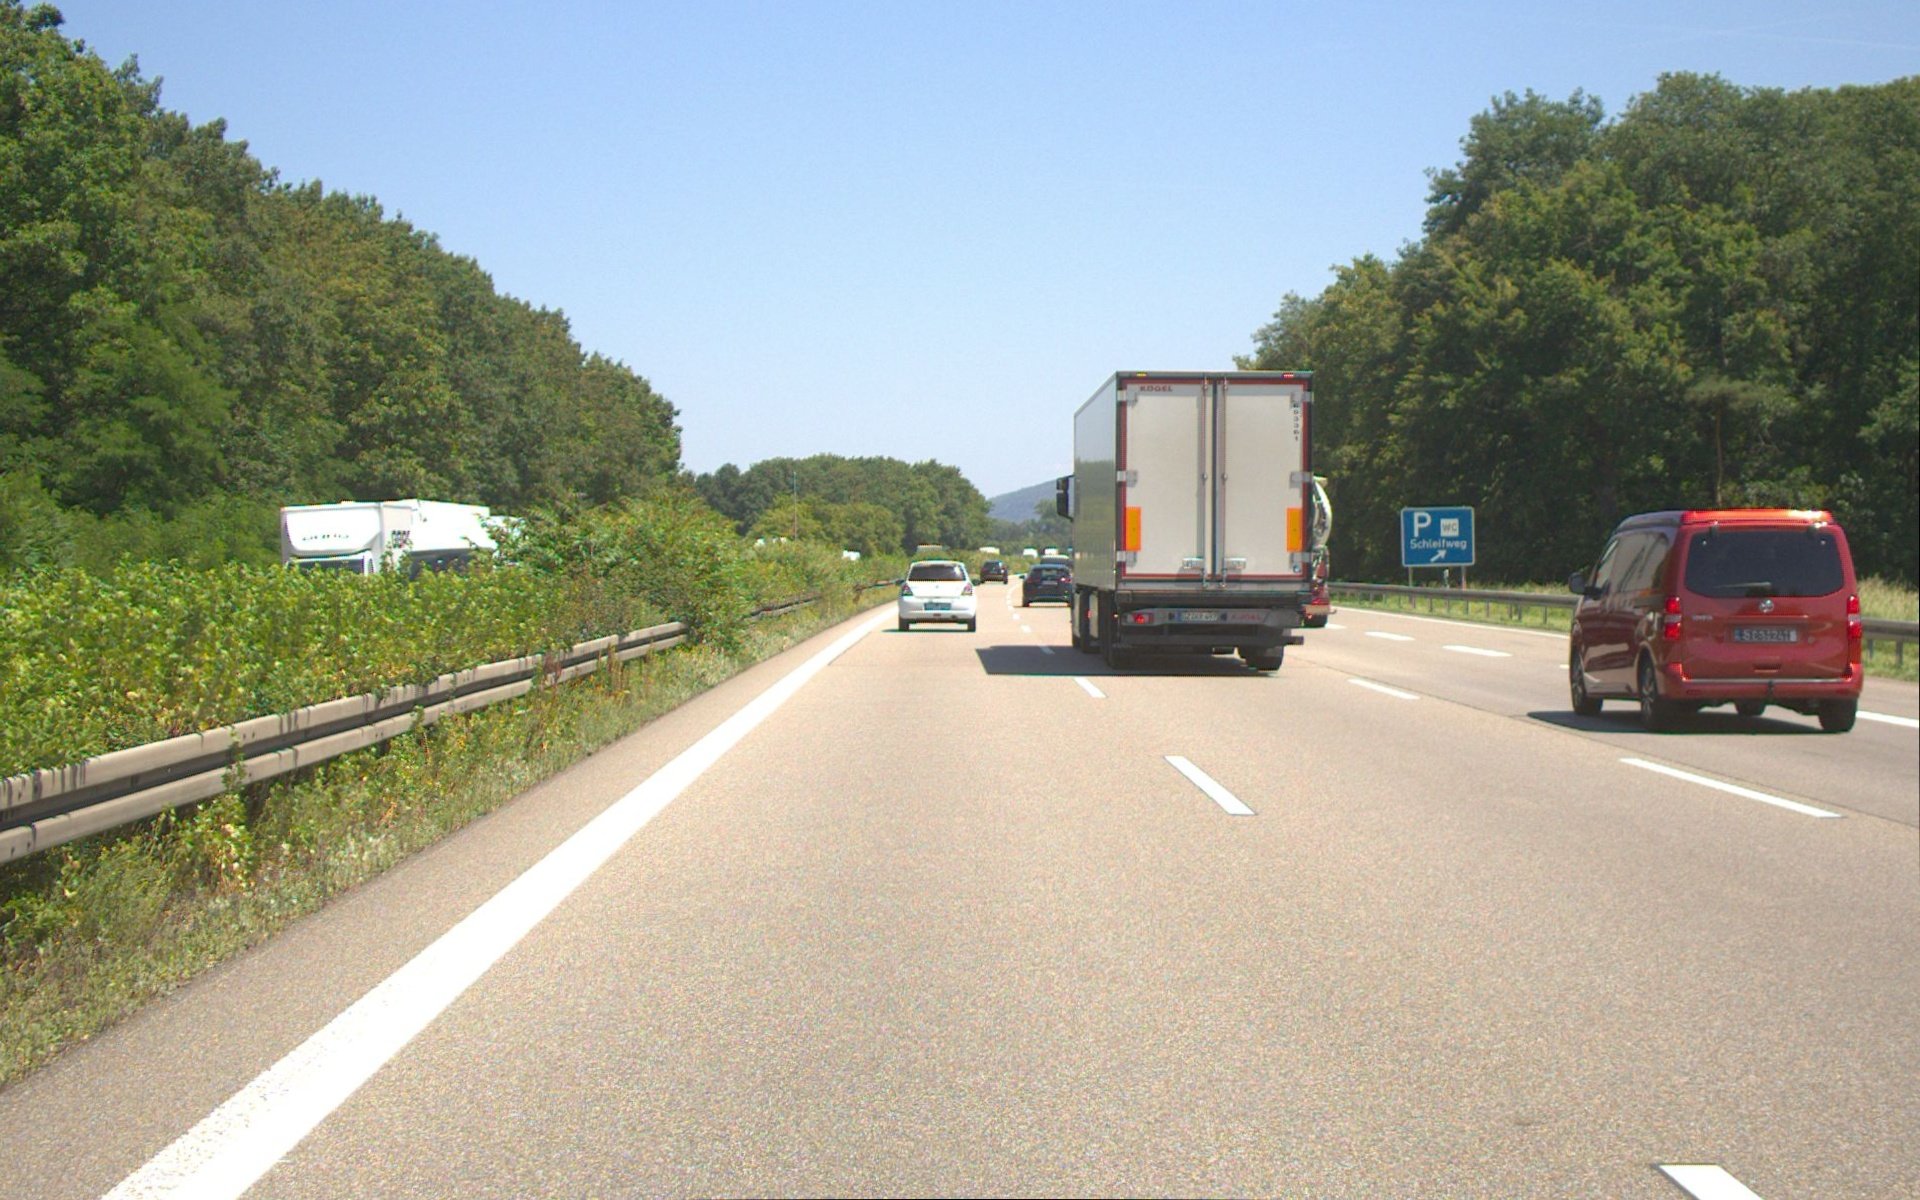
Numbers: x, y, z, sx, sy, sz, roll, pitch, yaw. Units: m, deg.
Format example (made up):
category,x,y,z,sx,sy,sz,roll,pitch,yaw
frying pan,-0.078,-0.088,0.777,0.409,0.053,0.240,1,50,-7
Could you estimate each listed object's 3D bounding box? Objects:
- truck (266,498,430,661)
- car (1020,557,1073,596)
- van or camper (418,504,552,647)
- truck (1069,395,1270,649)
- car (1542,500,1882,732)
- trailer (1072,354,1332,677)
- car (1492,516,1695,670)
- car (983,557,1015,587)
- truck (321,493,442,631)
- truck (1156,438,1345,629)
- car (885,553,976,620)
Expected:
category,x,y,z,sx,sy,sz,roll,pitch,yaw
truck,-13.523,-0.481,76.409,2.410,3.342,7.001,-2,1,-1
car,2.941,-0.794,116.296,1.668,1.285,4.000,0,1,4
van or camper,-9.933,-0.538,72.326,1.993,2.836,7.001,0,1,-1
truck,3.508,-1.308,58.599,3.229,4.143,4.559,0,1,2
car,6.988,0.108,32.567,1.855,1.996,5.522,1,1,-1
trailer,3.305,-1.172,50.365,3.224,4.129,12.351,0,1,1
car,8.580,-0.115,46.891,1.993,2.007,4.000,0,1,0
car,2.683,-1.959,237.159,2.107,2.007,4.000,1,1,-1
truck,-17.653,-1.169,105.055,2.834,4.020,4.185,-2,1,0
truck,6.929,-1.583,83.707,3.223,4.330,10.808,0,1,-2
car,-0.664,-0.305,74.623,1.811,1.400,3.318,0,1,-3
